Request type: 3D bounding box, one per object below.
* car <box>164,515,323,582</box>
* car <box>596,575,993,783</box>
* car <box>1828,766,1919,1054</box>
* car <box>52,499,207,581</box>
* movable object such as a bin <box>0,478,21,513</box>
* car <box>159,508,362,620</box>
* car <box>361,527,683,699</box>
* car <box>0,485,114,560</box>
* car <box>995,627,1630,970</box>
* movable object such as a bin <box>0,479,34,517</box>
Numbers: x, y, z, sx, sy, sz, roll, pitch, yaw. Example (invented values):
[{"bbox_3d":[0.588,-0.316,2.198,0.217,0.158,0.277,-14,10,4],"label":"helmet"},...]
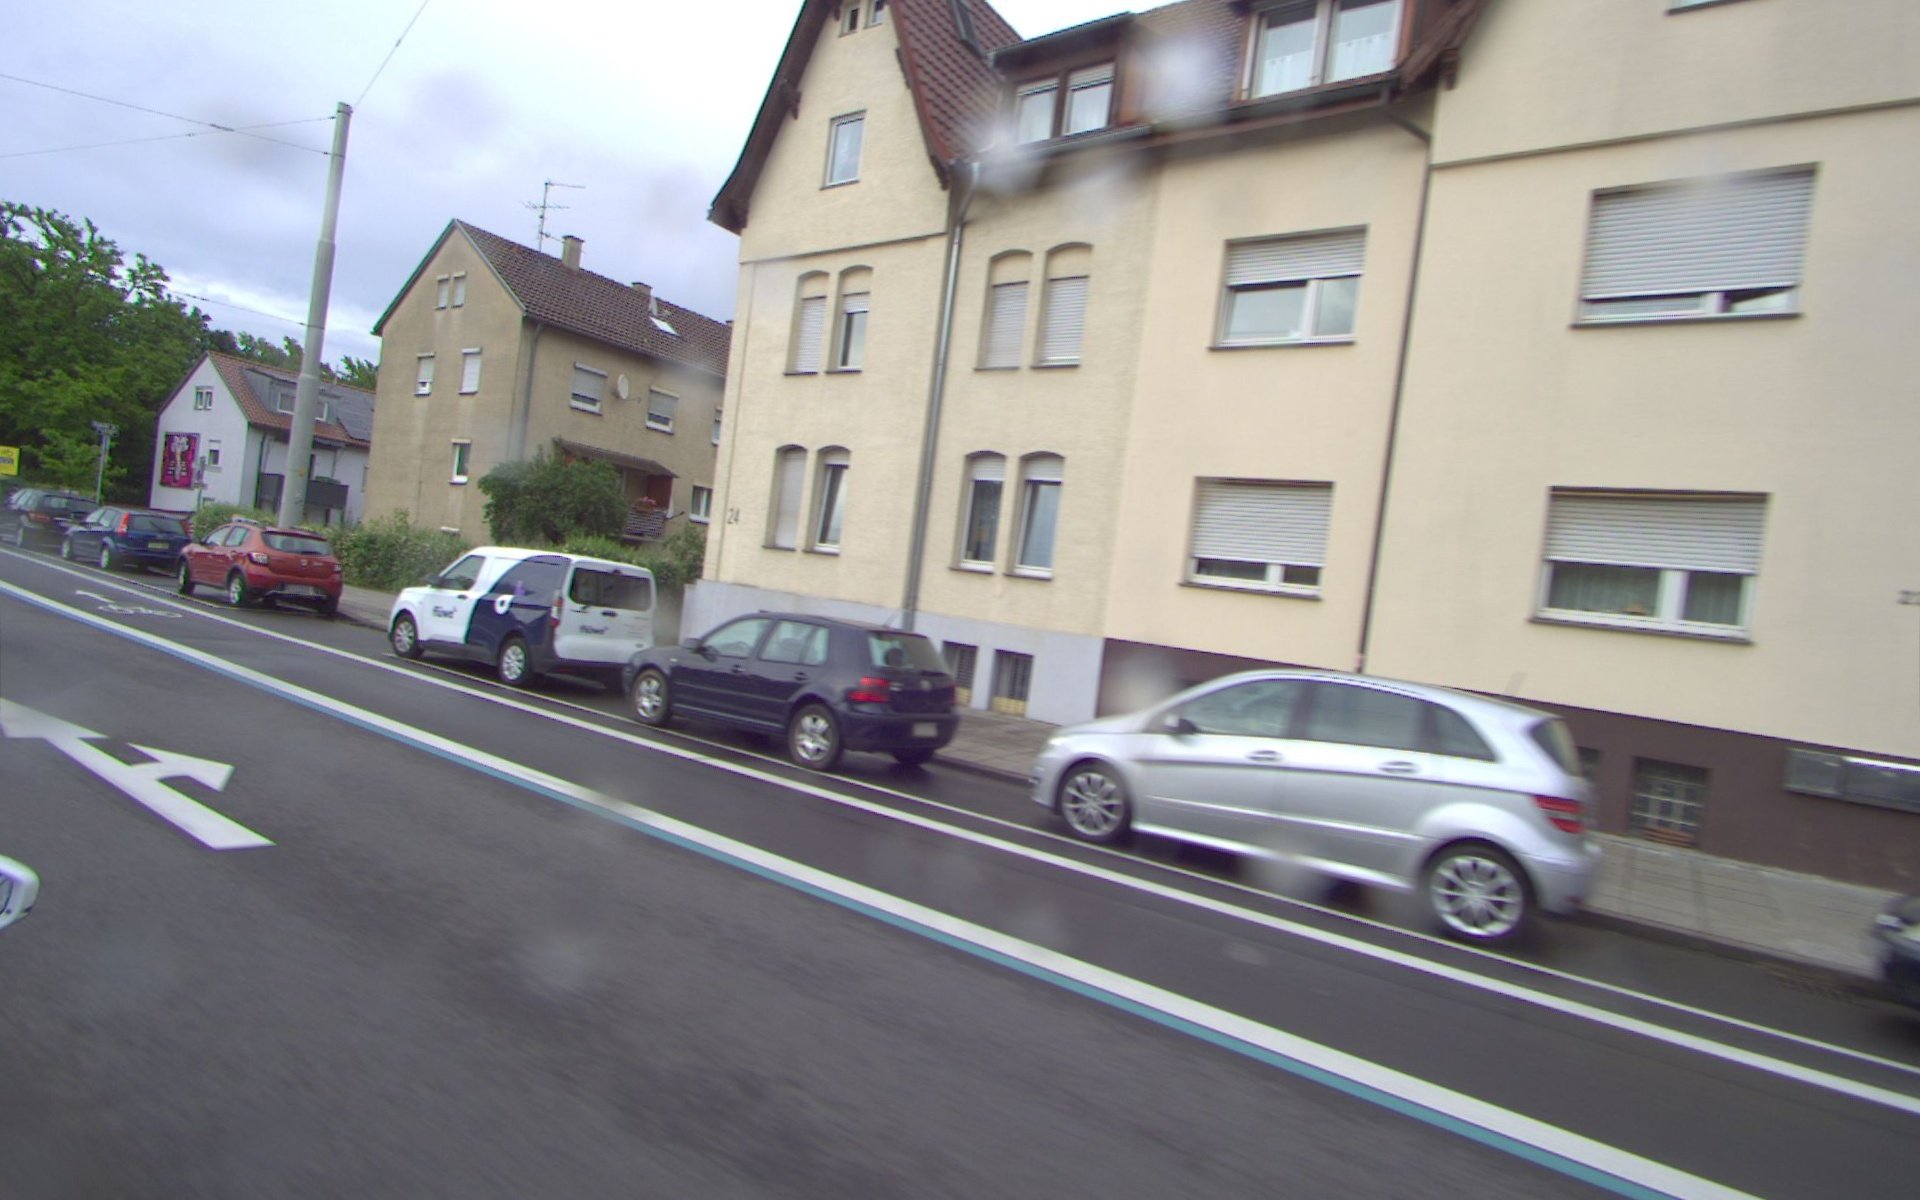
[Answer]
[{"bbox_3d":[-26.306,-1.858,37.084,1.851,1.673,4.279,6,-4,37],"label":"car"},{"bbox_3d":[-1.880,0.763,10.830,4.072,1.529,1.688,7,-2,36],"label":"car"},{"bbox_3d":[6.844,1.884,4.866,3.732,1.418,1.602,7,-2,36],"label":"car"},{"bbox_3d":[-19.917,-1.452,24.089,3.865,1.460,1.670,7,-1,33],"label":"car"},{"bbox_3d":[-42.656,-4.673,44.540,1.116,1.434,1.186,6,-2,31],"label":"movable object such as a bin"},{"bbox_3d":[-13.881,-0.730,19.900,4.034,1.647,1.839,7,-1,34],"label":"car"},{"bbox_3d":[-6.255,0.149,14.210,4.448,1.777,1.850,7,-1,33],"label":"car"},{"bbox_3d":[-25.044,-2.168,27.383,4.367,1.551,1.839,8,-1,34],"label":"car"},{"bbox_3d":[2.562,1.280,7.794,4.216,1.584,1.703,6,-2,36],"label":"car"},{"bbox_3d":[-41.428,-4.464,43.745,1.279,1.434,1.314,6,-2,31],"label":"movable object such as a bin"}]
